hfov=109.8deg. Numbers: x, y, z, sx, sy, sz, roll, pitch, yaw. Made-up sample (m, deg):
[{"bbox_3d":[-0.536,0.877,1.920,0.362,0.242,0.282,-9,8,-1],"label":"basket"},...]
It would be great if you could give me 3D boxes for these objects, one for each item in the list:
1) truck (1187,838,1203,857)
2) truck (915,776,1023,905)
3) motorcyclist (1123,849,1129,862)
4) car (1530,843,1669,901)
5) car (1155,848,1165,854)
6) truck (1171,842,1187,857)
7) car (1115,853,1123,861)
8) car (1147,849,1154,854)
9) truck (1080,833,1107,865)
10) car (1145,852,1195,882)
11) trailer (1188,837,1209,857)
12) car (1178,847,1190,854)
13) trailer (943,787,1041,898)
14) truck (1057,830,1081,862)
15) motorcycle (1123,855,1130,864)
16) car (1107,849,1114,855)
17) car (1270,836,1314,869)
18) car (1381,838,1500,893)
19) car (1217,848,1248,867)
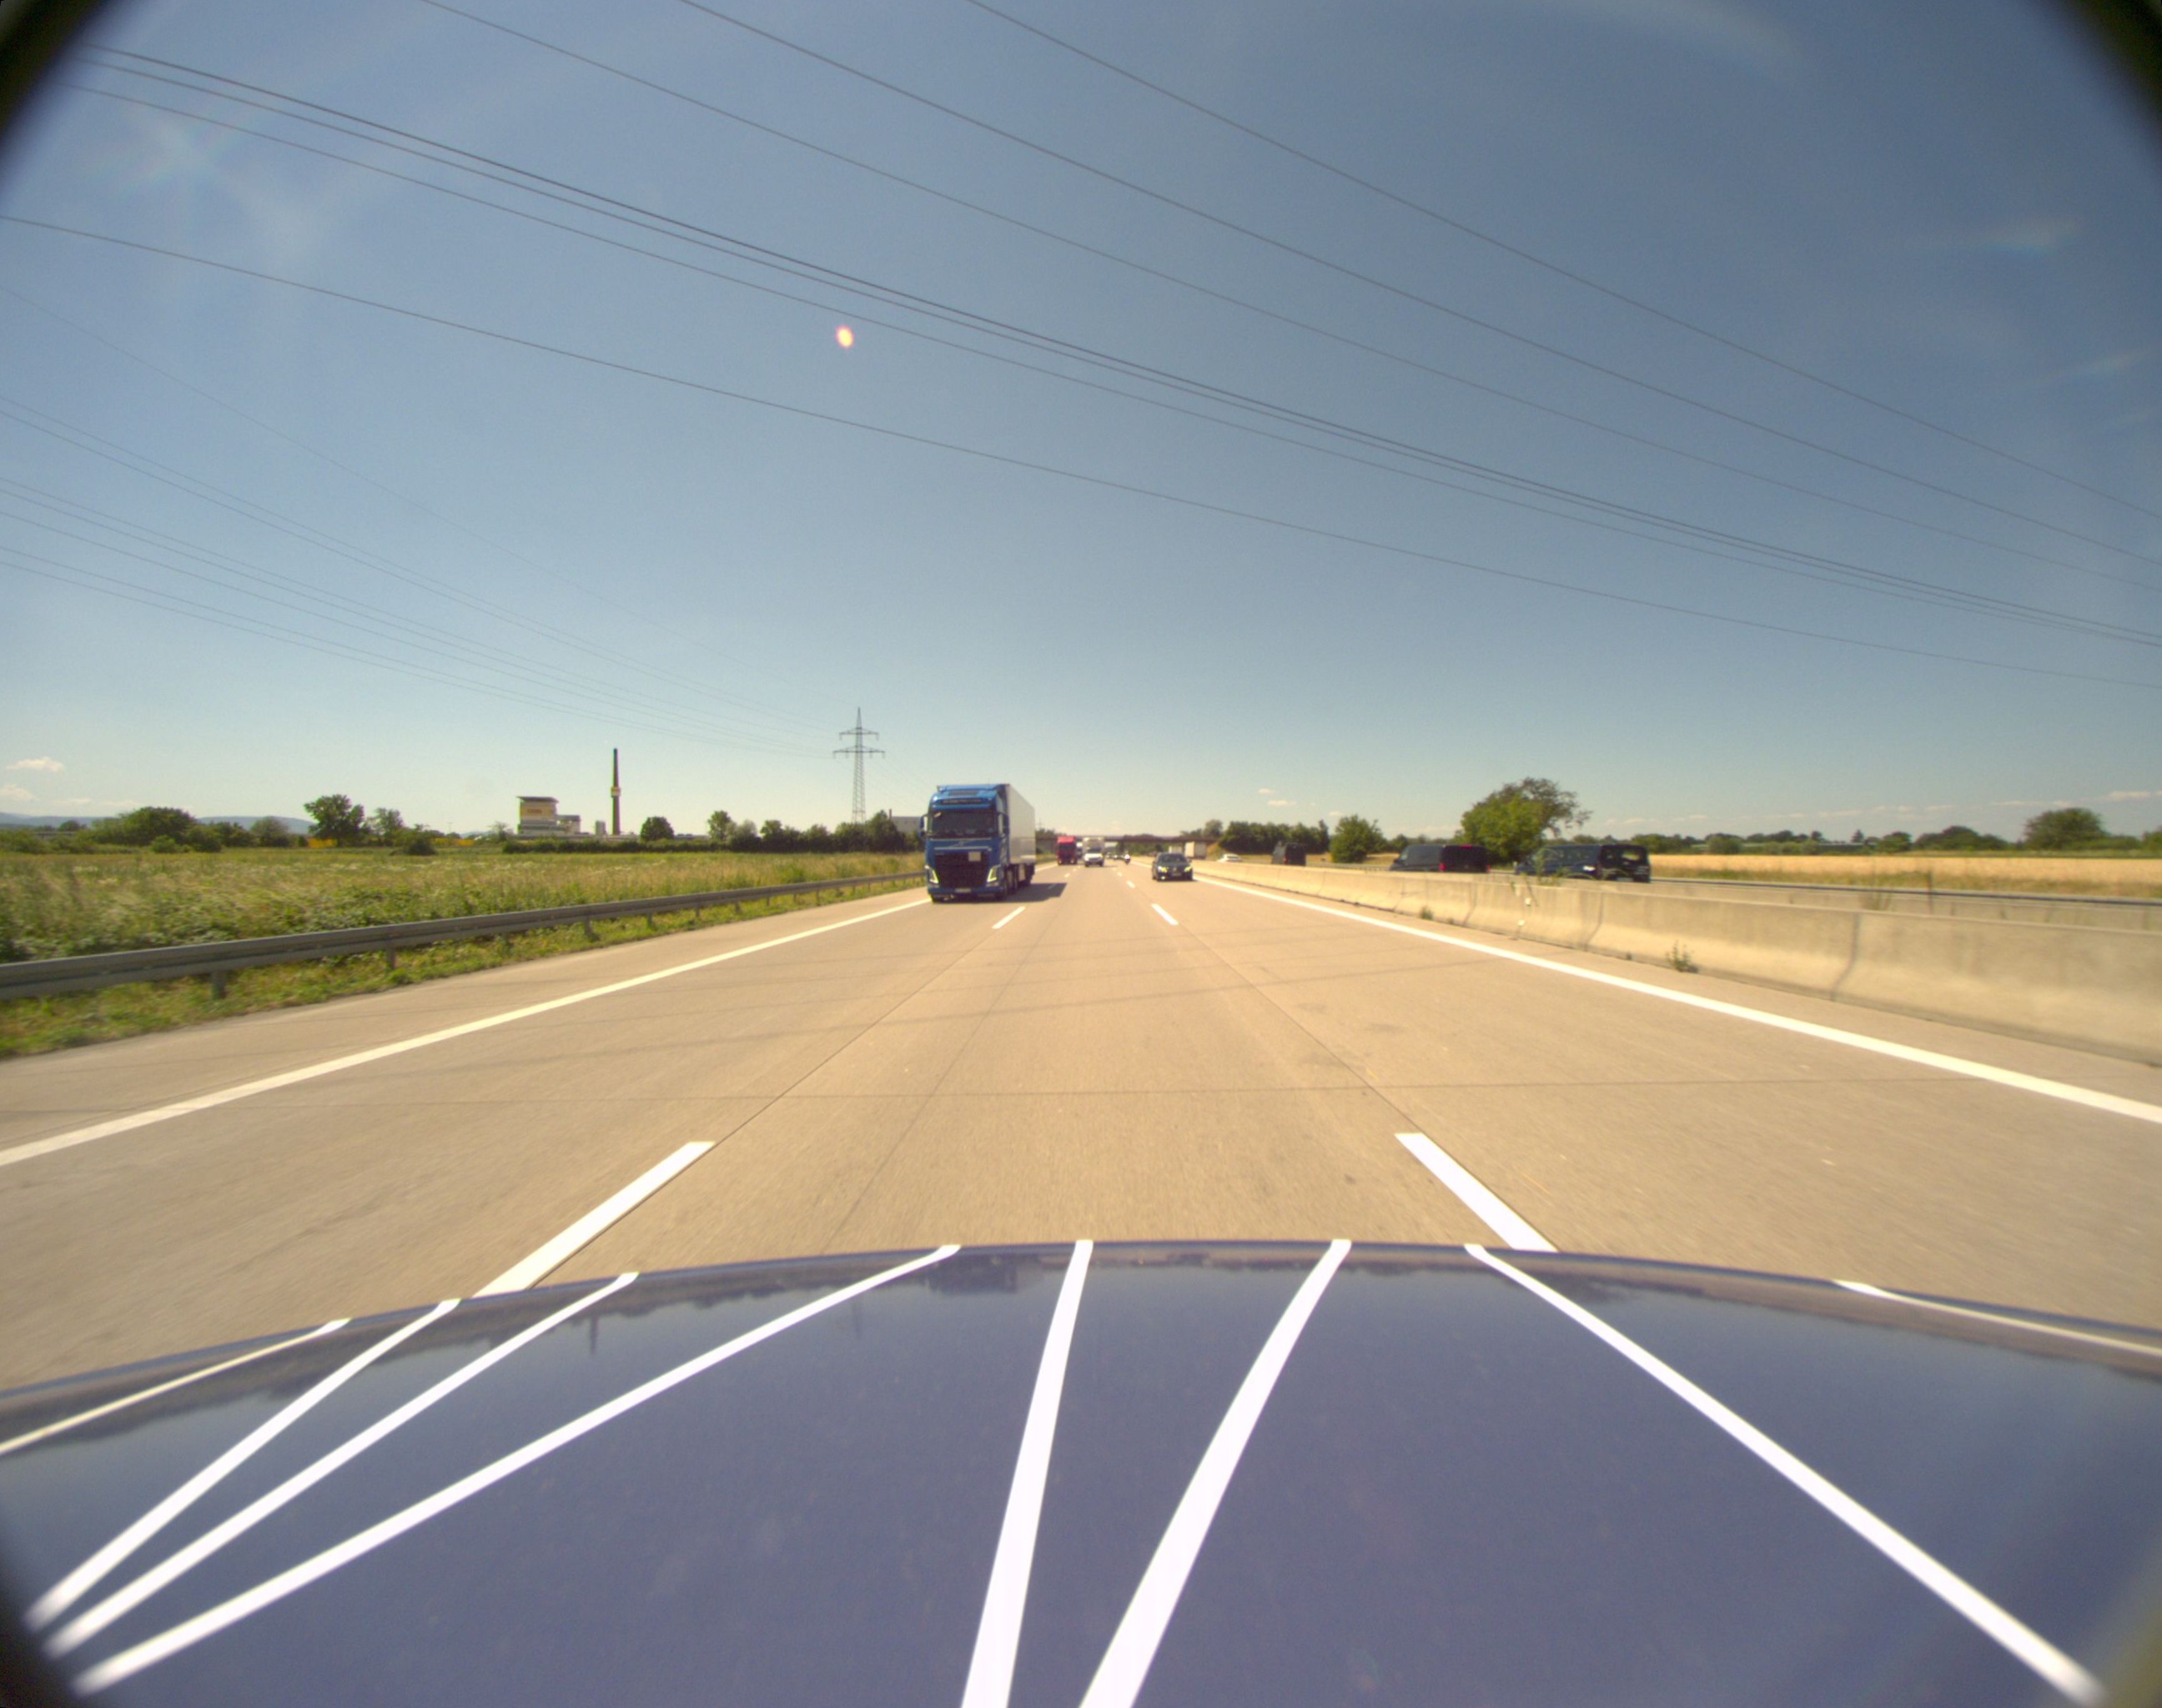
[{"bbox_3d":[24.957,-1.495,166.793,2.825,4.021,5.678,-2,1,3],"label":"truck"},{"bbox_3d":[-3.781,-0.445,27.052,2.757,4.020,5.466,-2,1,1],"label":"truck"},{"bbox_3d":[5.726,0.208,95.810,0.672,1.552,0.775,-2,1,0],"label":"motorcyclist"},{"bbox_3d":[17.834,0.558,26.388,2.175,1.779,4.000,-2,0,2],"label":"car"},{"bbox_3d":[17.090,-0.637,164.473,1.851,1.343,4.494,0,1,2],"label":"car"},{"bbox_3d":[20.838,-0.973,162.491,2.553,3.124,7.922,-1,0,1],"label":"truck"},{"bbox_3d":[7.485,0.540,150.047,1.557,1.440,3.777,-2,0,3],"label":"car"},{"bbox_3d":[17.151,-0.714,188.056,1.546,1.156,3.375,-2,0,1],"label":"car"},{"bbox_3d":[1.482,-0.539,85.090,2.784,3.328,7.813,-2,0,2],"label":"truck"},{"bbox_3d":[4.675,0.619,40.918,1.998,1.462,6.347,0,0,0],"label":"car"},{"bbox_3d":[24.659,-1.439,159.687,2.827,4.021,12.678,-2,0,2],"label":"trailer"},{"bbox_3d":[16.176,-0.522,118.950,1.525,1.047,3.523,-2,0,3],"label":"car"},{"bbox_3d":[-3.660,-0.468,34.729,2.715,4.020,12.901,-2,0,1],"label":"trailer"},{"bbox_3d":[-1.653,-1.118,108.990,2.855,4.298,10.886,-2,0,2],"label":"truck"},{"bbox_3d":[5.751,0.731,95.828,0.683,1.046,2.065,-2,0,0],"label":"motorcycle"},{"bbox_3d":[7.388,-0.612,190.454,1.683,1.444,3.564,-2,0,2],"label":"car"},{"bbox_3d":[18.615,-0.146,67.441,2.253,2.770,6.792,-2,0,2],"label":"car"},{"bbox_3d":[13.596,0.381,29.195,1.998,1.815,5.825,-2,0,2],"label":"car"},{"bbox_3d":[14.019,0.328,70.674,1.877,1.643,5.108,-2,0,1],"label":"car"}]
